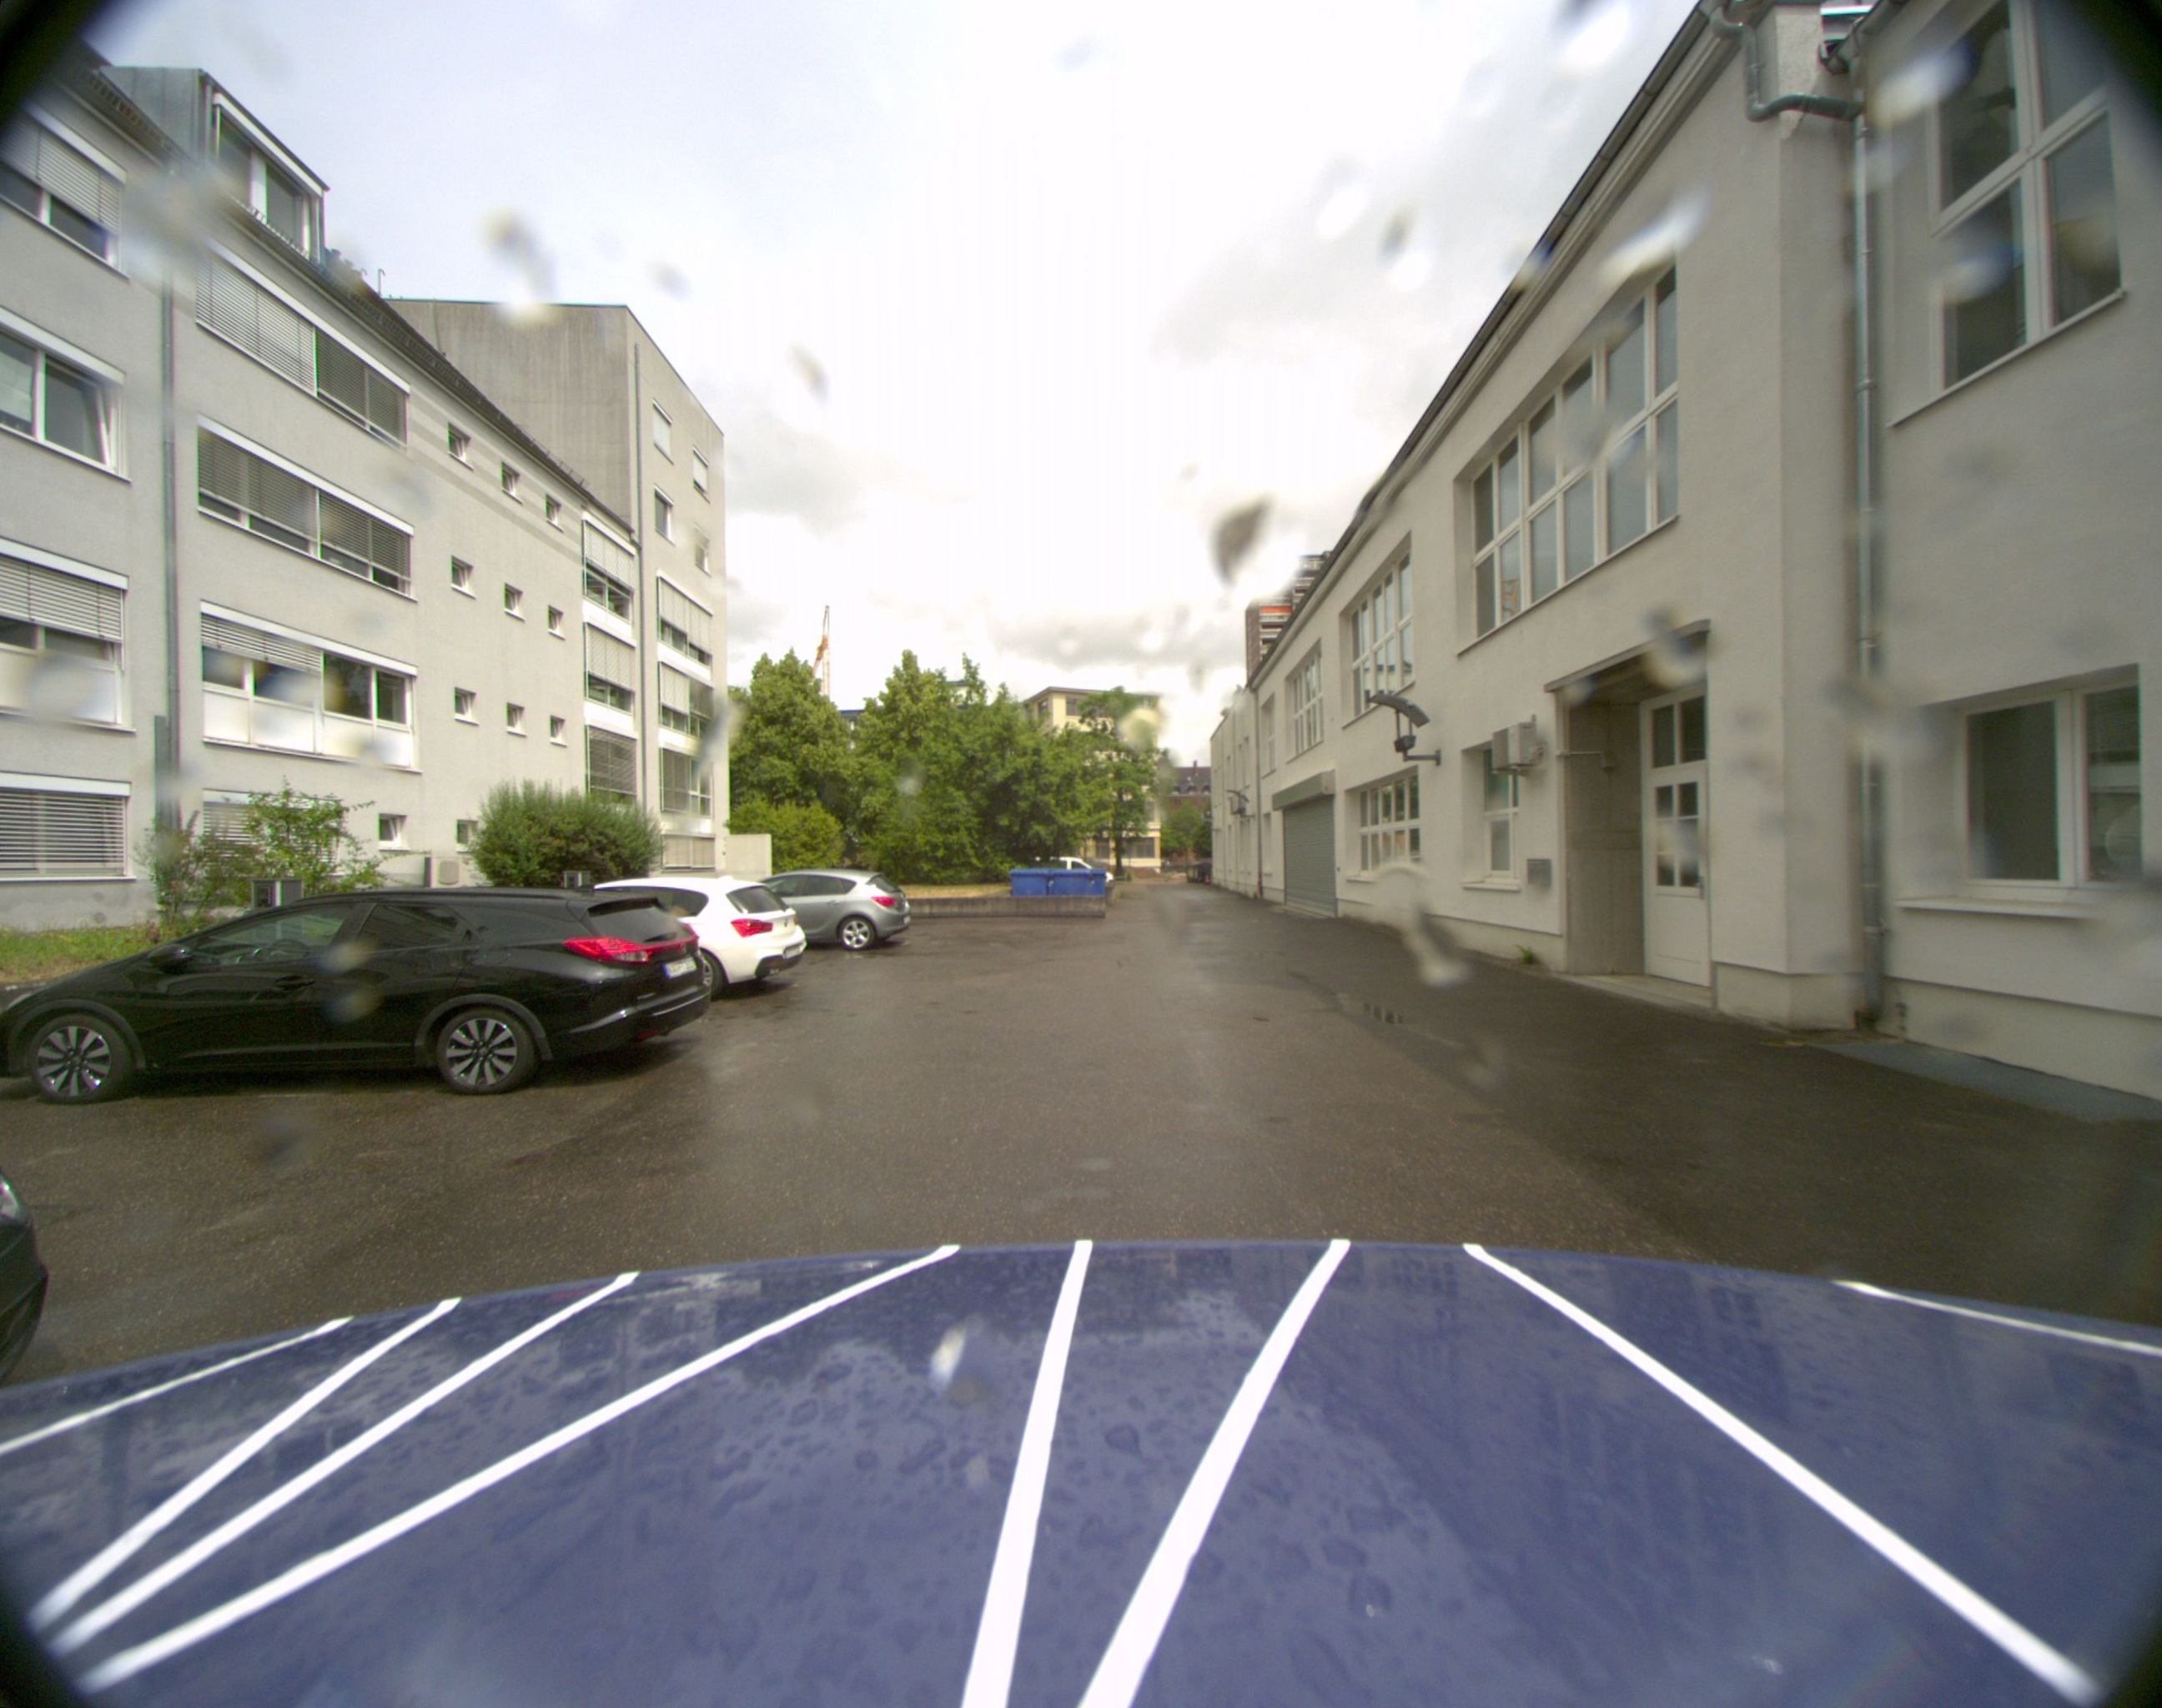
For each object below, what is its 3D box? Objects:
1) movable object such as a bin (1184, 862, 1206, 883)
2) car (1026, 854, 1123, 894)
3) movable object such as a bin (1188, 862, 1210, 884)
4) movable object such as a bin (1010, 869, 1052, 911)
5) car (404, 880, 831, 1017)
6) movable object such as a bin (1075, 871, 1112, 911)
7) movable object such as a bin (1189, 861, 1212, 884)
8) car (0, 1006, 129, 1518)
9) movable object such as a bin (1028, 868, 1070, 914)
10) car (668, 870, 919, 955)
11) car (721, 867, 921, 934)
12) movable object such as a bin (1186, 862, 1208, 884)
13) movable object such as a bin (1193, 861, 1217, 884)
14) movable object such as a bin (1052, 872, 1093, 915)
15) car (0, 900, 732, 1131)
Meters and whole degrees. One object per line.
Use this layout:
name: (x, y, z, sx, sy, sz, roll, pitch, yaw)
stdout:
movable object such as a bin: (8.405, 1.381, 56.286, 1.412, 1.461, 1.561, -2, -1, 3)
car: (-0.308, 1.077, 41.074, 4.946, 2.002, 2.001, -1, 0, 7)
movable object such as a bin: (8.259, 1.317, 53.212, 1.362, 1.462, 1.353, -2, -1, 3)
movable object such as a bin: (-1.569, 1.138, 24.105, 1.232, 1.309, 1.056, 0, -1, 3)
car: (-5.443, 1.085, 9.357, 4.108, 1.447, 1.833, 0, 0, -1)
movable object such as a bin: (0.429, 1.239, 25.841, 1.177, 1.309, 1.056, -2, -1, 3)
movable object such as a bin: (8.149, 1.265, 51.720, 1.362, 1.462, 1.366, -2, -1, 3)
car: (-5.089, 1.127, 1.304, 4.366, 1.340, 1.860, 0, -1, -3)
movable object such as a bin: (-1.055, 1.215, 25.477, 1.278, 1.474, 1.102, -2, -1, 3)
car: (-5.293, 1.062, 14.360, 4.090, 1.449, 1.668, 0, 1, 0)
car: (-5.979, 1.046, 17.776, 3.996, 1.346, 1.791, 1, 0, 3)
movable object such as a bin: (8.334, 1.357, 54.663, 1.362, 1.462, 1.465, -2, -1, 3)
movable object such as a bin: (8.173, 1.217, 50.098, 1.362, 1.462, 1.366, -2, -1, 3)
movable object such as a bin: (-0.248, 1.239, 24.061, 1.232, 1.309, 1.056, 0, -1, 3)
car: (-5.305, 1.122, 6.030, 4.182, 1.393, 1.939, 0, 0, -3)
